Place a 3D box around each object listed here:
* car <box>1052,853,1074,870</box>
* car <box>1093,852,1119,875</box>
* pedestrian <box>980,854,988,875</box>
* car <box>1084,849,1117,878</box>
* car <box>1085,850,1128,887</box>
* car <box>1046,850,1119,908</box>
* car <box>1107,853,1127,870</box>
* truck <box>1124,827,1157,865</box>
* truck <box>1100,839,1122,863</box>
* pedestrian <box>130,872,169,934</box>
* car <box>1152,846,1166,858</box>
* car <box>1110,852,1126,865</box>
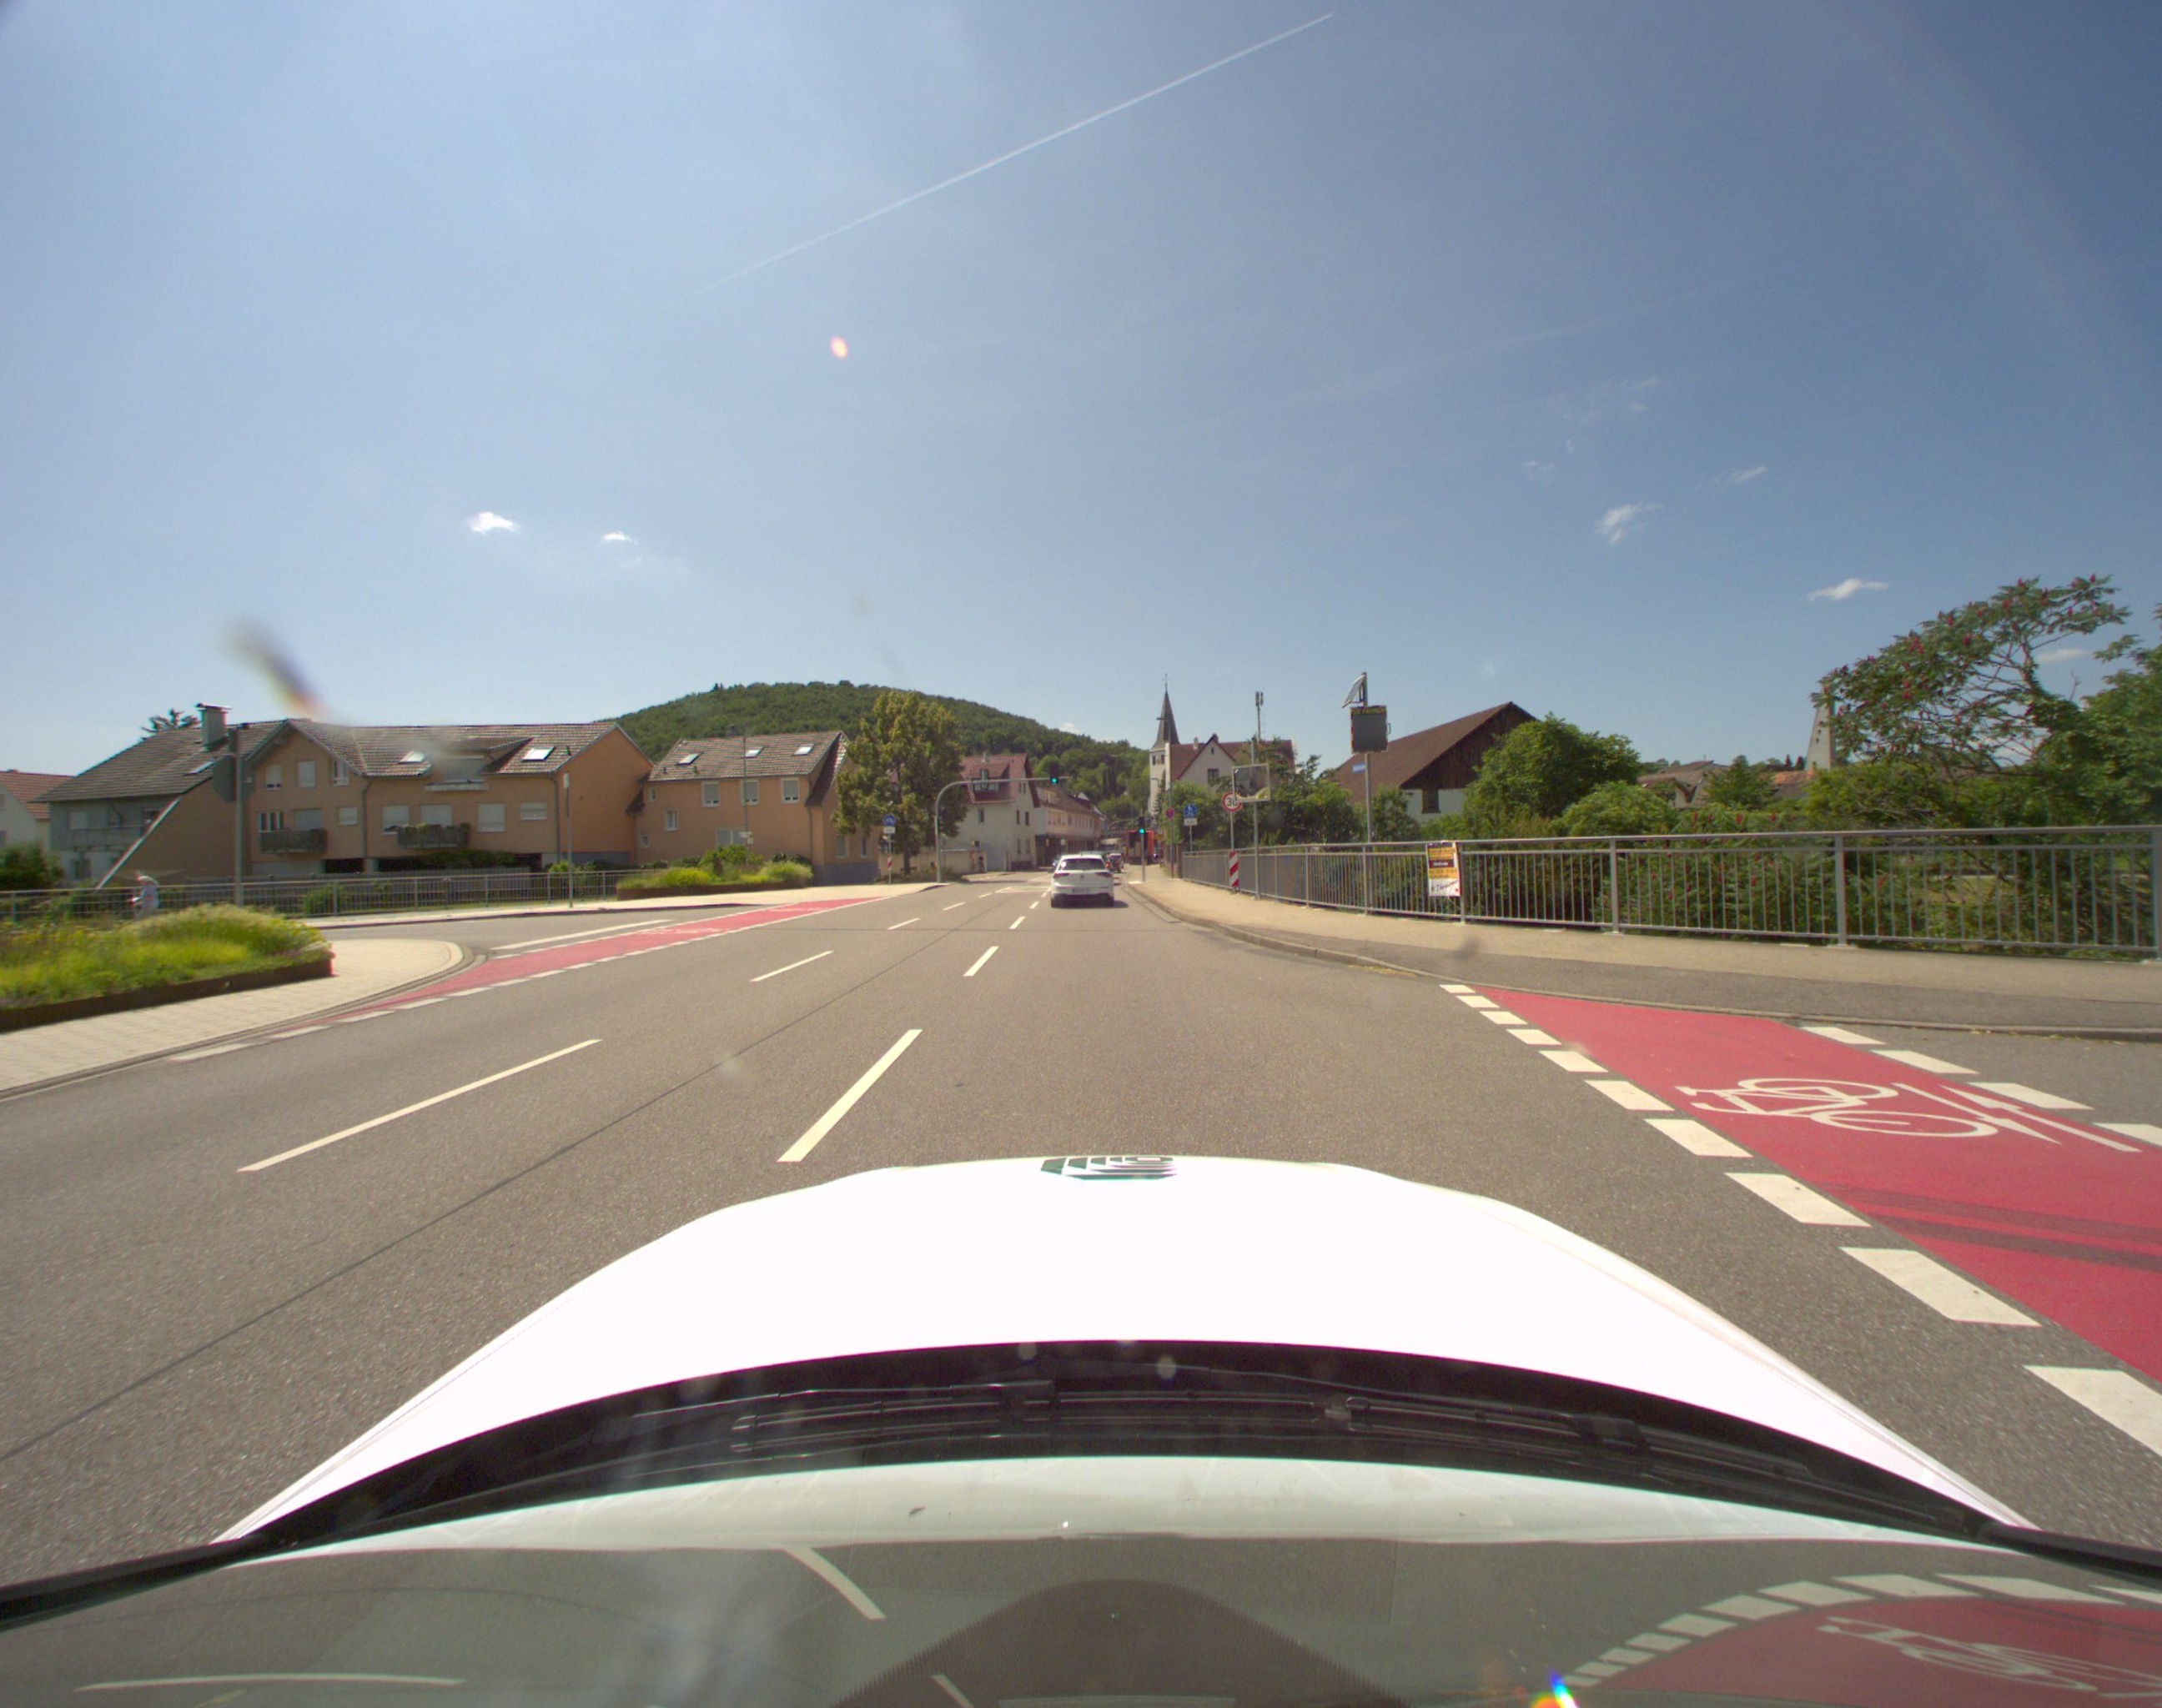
[{"bbox_3d":[-1.713,0.707,80.044,1.807,1.649,4.004,-1,-1,4],"label":"car"},{"bbox_3d":[2.028,0.726,64.090,1.807,1.629,4.004,-3,-1,4],"label":"car"},{"bbox_3d":[-8.318,0.887,69.765,0.430,1.764,0.560,-2,0,23],"label":"pedestrian"},{"bbox_3d":[1.259,0.596,50.803,1.807,1.629,4.004,-3,-1,4],"label":"car"},{"bbox_3d":[1.276,0.674,38.966,1.807,1.629,4.004,-3,-1,4],"label":"car"},{"bbox_3d":[0.122,0.689,23.619,1.807,1.519,4.004,-1,-1,4],"label":"car"},{"bbox_3d":[3.567,0.735,79.801,1.807,1.519,4.004,-3,-1,4],"label":"car"},{"bbox_3d":[7.297,-0.865,98.869,3.349,4.170,9.536,-3,-1,6],"label":"truck"},{"bbox_3d":[4.318,-0.405,116.921,2.488,3.235,6.052,-3,-1,7],"label":"truck"},{"bbox_3d":[-26.869,1.401,23.493,0.617,1.749,0.501,-1,0,-35],"label":"pedestrian"},{"bbox_3d":[10.942,-0.263,113.878,1.807,1.519,4.004,-3,-1,4],"label":"car"},{"bbox_3d":[4.680,0.569,101.237,1.807,1.519,4.004,-3,-1,4],"label":"car"}]
